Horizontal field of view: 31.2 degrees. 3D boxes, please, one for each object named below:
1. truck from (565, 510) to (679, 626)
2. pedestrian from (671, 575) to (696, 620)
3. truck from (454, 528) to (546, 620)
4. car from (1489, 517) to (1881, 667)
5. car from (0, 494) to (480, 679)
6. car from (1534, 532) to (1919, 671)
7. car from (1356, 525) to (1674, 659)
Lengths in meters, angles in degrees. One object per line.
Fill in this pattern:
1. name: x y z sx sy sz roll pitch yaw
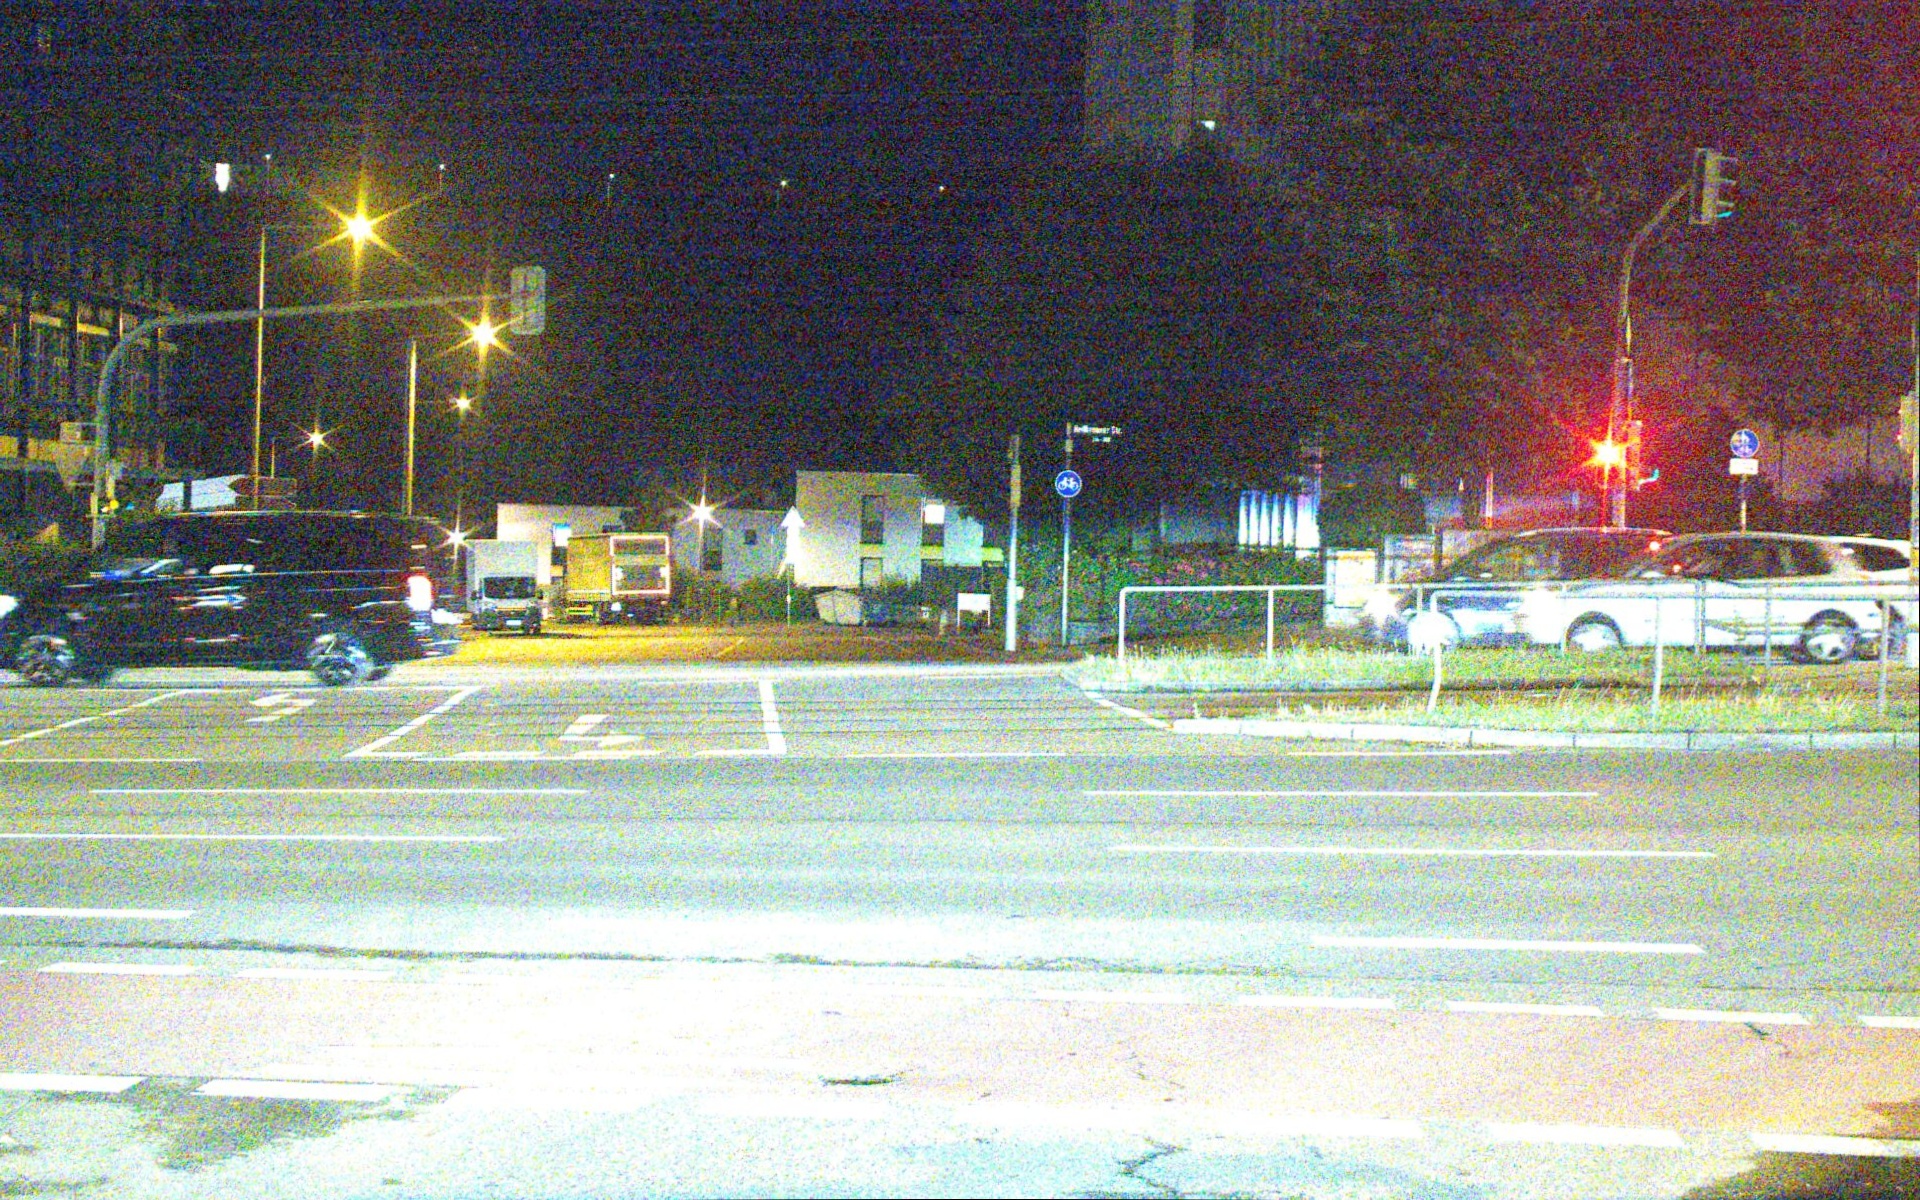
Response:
1. truck: -14.708 -1.387 148.935 3.359 4.826 7.908 1 0 -17
2. pedestrian: -11.869 -0.098 147.660 0.849 1.905 1.007 1 0 -18
3. truck: -16.052 -0.899 119.678 2.417 3.078 6.439 1 0 -14
4. car: 7.702 -0.083 36.792 3.835 1.481 1.869 1 0 3
5. car: -7.931 -0.148 37.822 4.944 1.878 1.869 1 0 4
6. car: 9.055 0.002 39.684 4.575 1.481 1.779 1 1 3
7. car: 6.913 -0.119 43.122 3.820 1.625 1.811 0 1 5
